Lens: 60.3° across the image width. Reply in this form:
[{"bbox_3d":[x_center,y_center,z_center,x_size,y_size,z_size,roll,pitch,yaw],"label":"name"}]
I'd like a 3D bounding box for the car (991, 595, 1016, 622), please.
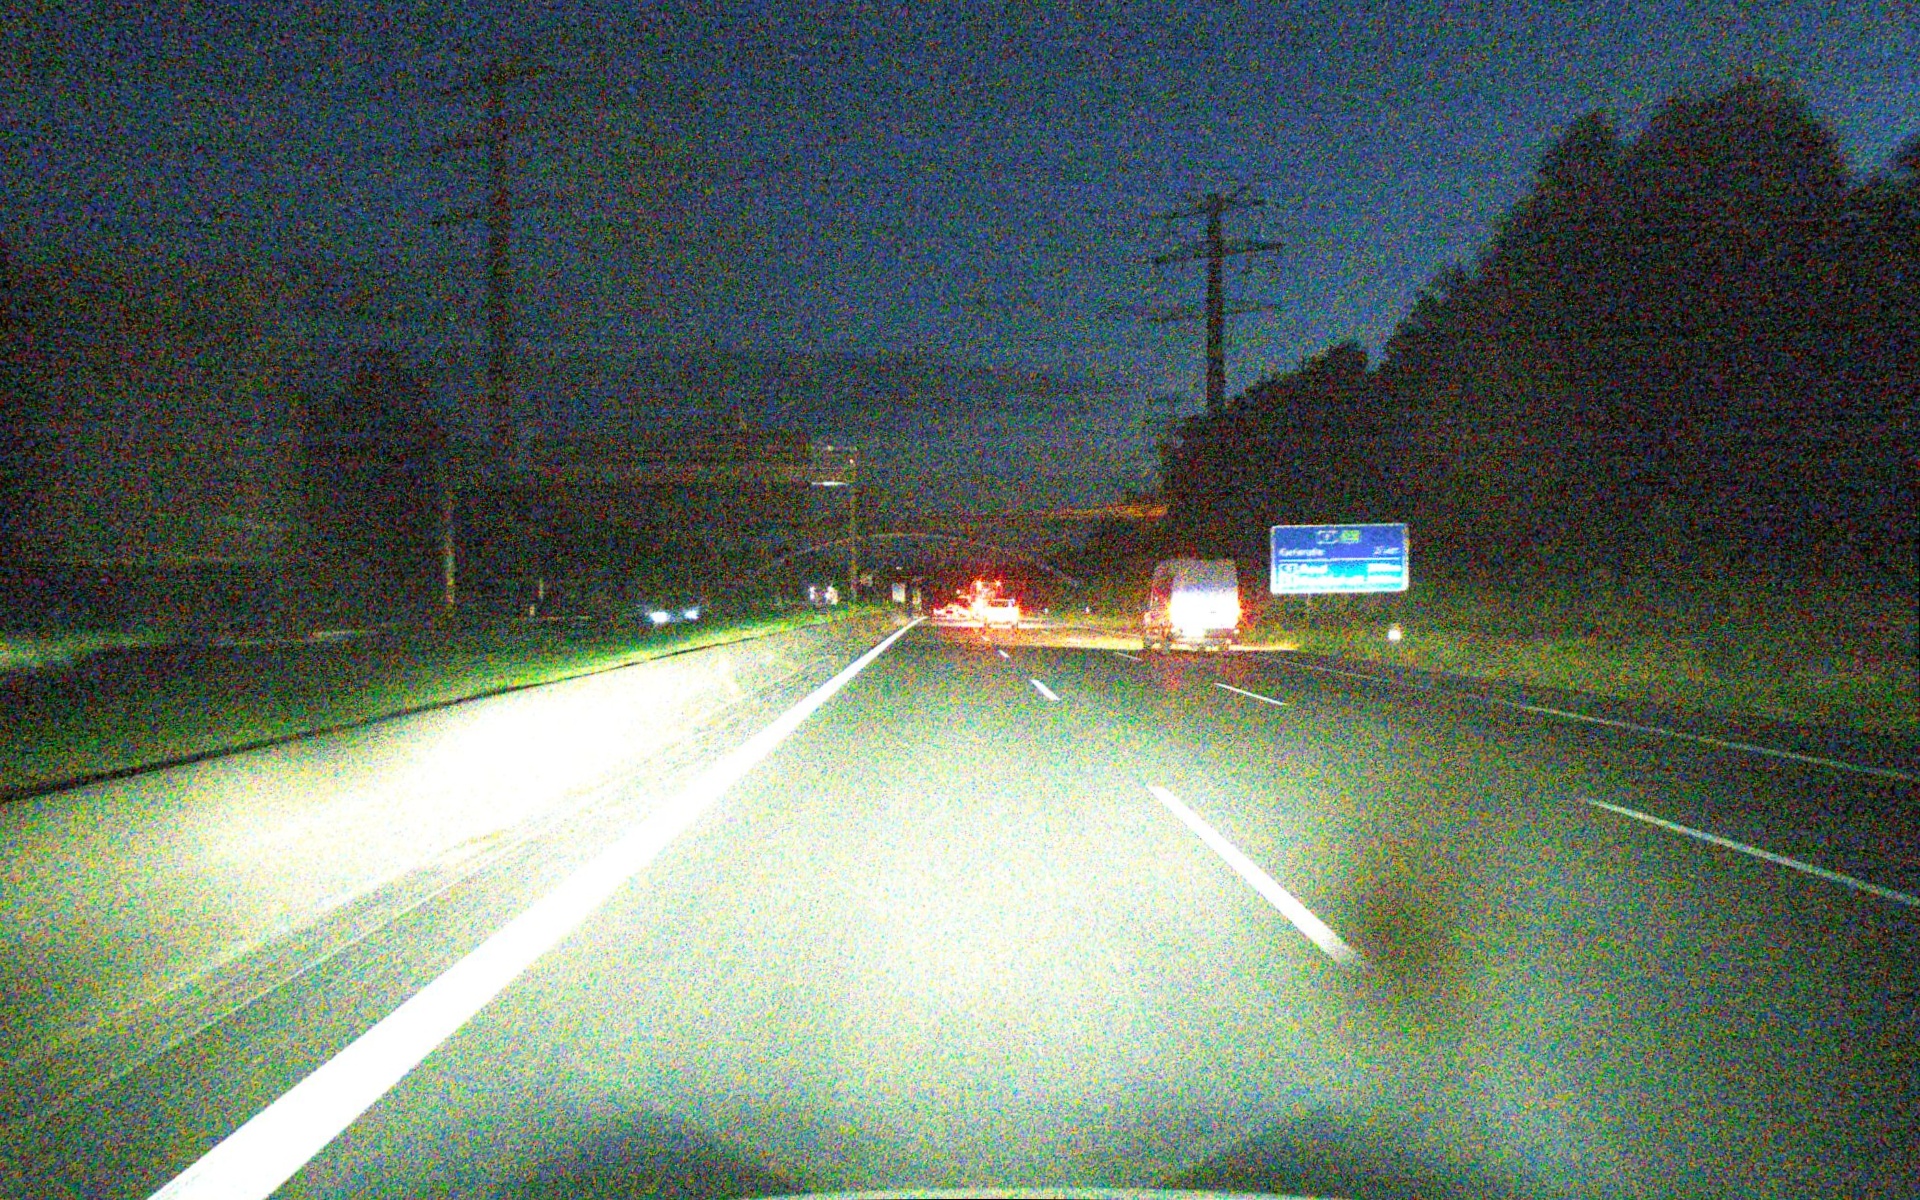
[{"bbox_3d":[2.404,0.450,91.714,1.318,1.411,3.502,1,1,0],"label":"car"}]

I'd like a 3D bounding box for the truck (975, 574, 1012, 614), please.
[{"bbox_3d":[2.926,-0.604,146.624,2.982,3.382,10.142,1,1,0],"label":"truck"}]

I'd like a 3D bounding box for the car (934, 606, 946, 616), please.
[{"bbox_3d":[-3.110,1.698,259.925,1.783,1.491,4.248,1,1,0],"label":"car"}]

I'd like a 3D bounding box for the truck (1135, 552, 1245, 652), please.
[{"bbox_3d":[6.755,0.138,49.429,2.035,2.738,7.304,1,-1,-2],"label":"truck"}]

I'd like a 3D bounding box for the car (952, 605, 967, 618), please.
[{"bbox_3d":[-0.056,1.364,201.917,1.783,1.491,4.248,1,1,0],"label":"car"}]

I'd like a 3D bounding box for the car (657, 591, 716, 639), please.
[{"bbox_3d":[-12.360,0.635,75.012,1.869,1.956,5.456,-2,1,-2],"label":"car"}]

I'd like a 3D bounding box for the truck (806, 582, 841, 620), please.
[{"bbox_3d":[-18.100,0.053,220.730,3.180,4.567,17.438,1,1,0],"label":"truck"}]
